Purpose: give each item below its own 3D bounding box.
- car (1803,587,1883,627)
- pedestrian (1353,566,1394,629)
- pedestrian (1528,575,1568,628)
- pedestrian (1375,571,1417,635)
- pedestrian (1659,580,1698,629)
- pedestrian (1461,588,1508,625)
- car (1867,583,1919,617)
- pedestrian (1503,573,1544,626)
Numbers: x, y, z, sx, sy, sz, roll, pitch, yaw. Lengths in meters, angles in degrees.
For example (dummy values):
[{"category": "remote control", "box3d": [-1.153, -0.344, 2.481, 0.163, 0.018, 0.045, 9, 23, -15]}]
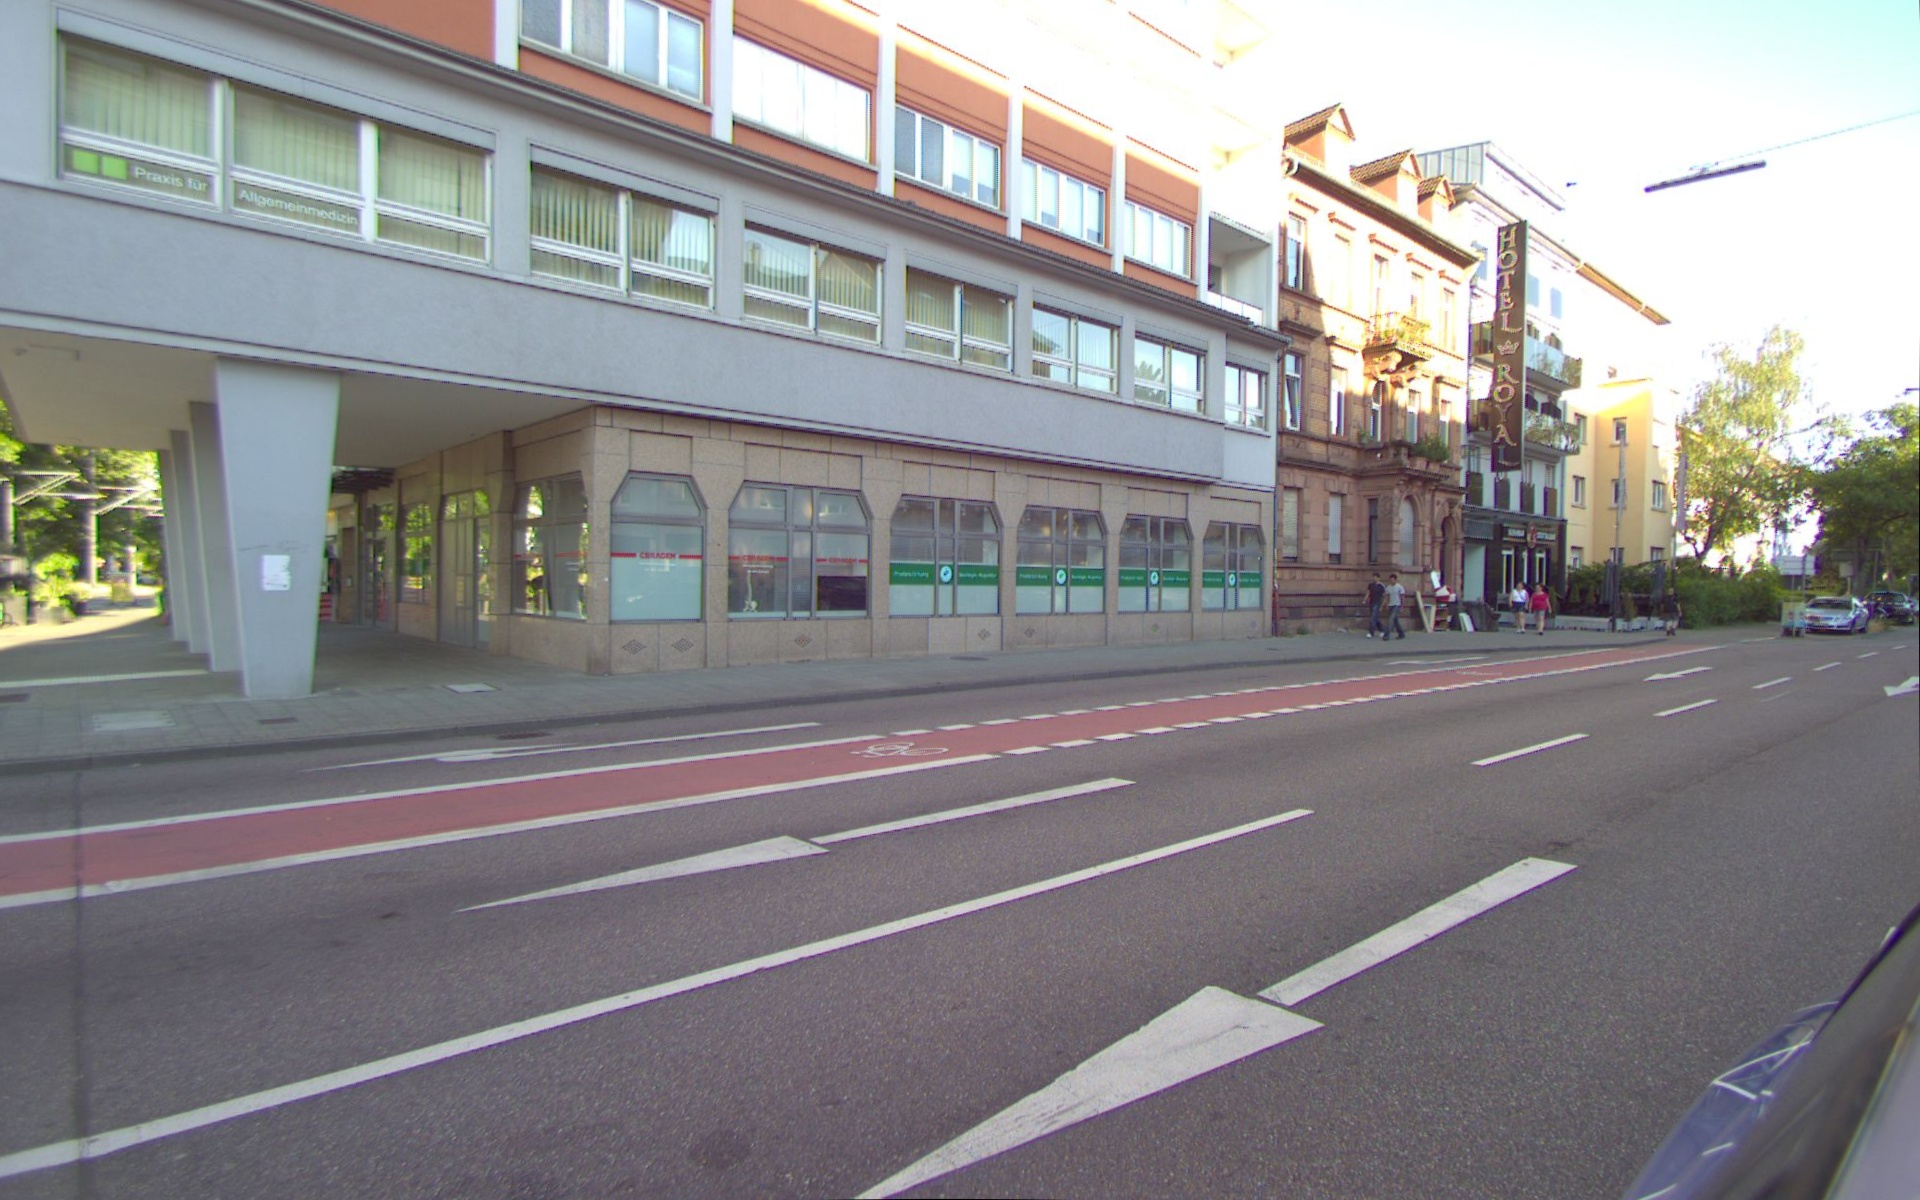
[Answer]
[{"category": "car", "box3d": [35.866, 0.258, 41.083, 4.003, 1.536, 1.905, 0, 1, -41]}, {"category": "pedestrian", "box3d": [11.706, -0.070, 28.645, 0.994, 1.747, 0.667, 0, 1, -42]}, {"category": "pedestrian", "box3d": [18.675, 0.040, 32.135, 0.994, 1.606, 0.738, -1, 5, -43]}, {"category": "pedestrian", "box3d": [12.076, 0.070, 28.022, 0.993, 1.747, 0.667, 0, 1, -41]}, {"category": "pedestrian", "box3d": [24.915, 0.158, 35.096, 0.992, 1.621, 0.739, 0, 4, -37]}, {"category": "pedestrian", "box3d": [16.934, 0.206, 32.695, 0.909, 1.150, 1.099, 0, 1, -43]}, {"category": "car", "box3d": [47.573, -0.017, 51.276, 4.121, 1.645, 1.946, 0, 1, -41]}, {"category": "pedestrian", "box3d": [18.176, -0.022, 32.625, 0.994, 1.606, 0.786, -1, 6, -43]}]
